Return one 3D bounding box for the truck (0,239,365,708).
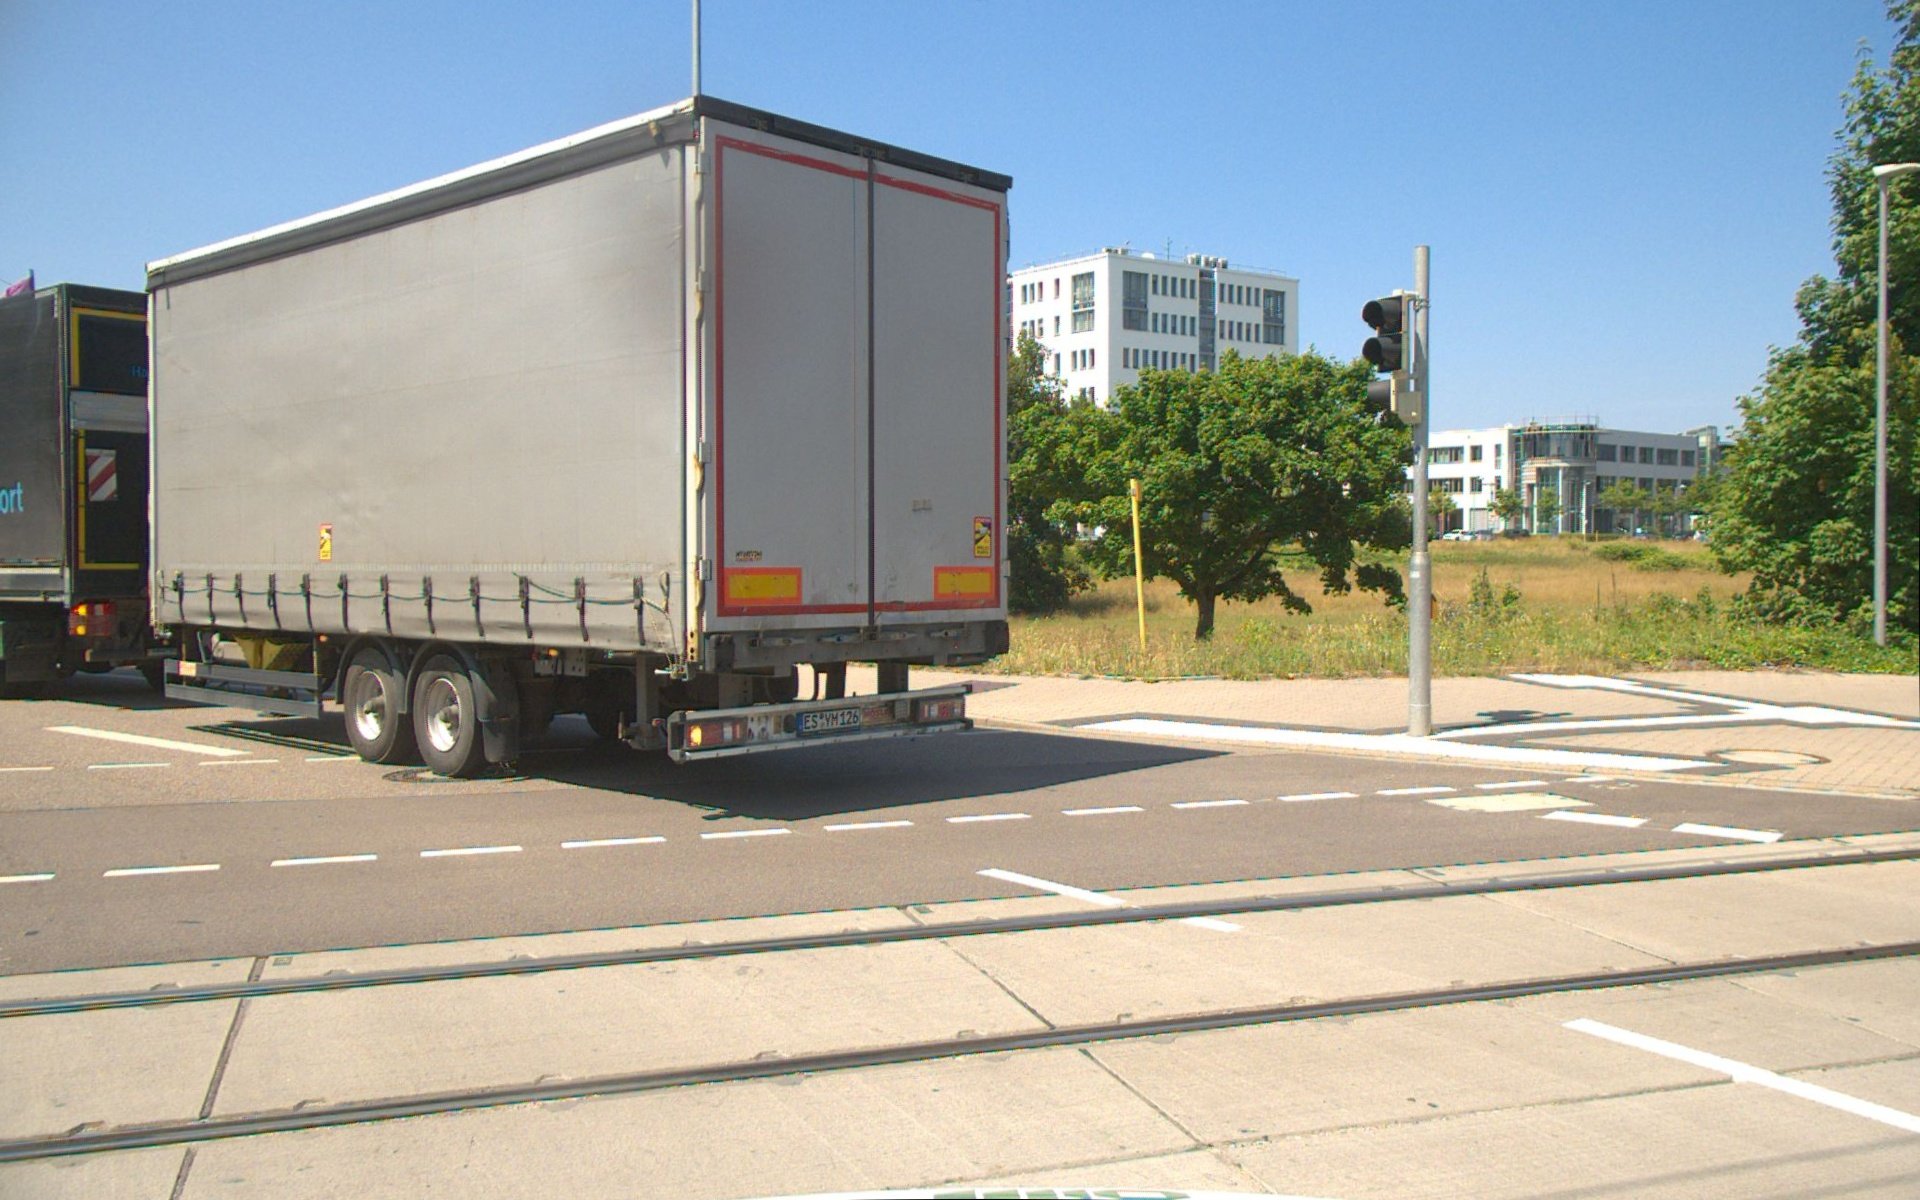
[{"bbox_3d":[-10.170,-1.229,18.235,7.803,4.140,3.075,2,2,37],"label":"truck"}]

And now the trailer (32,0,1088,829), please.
[{"bbox_3d":[-3.741,-1.051,12.701,9.636,4.140,3.068,2,2,43],"label":"trailer"}]
